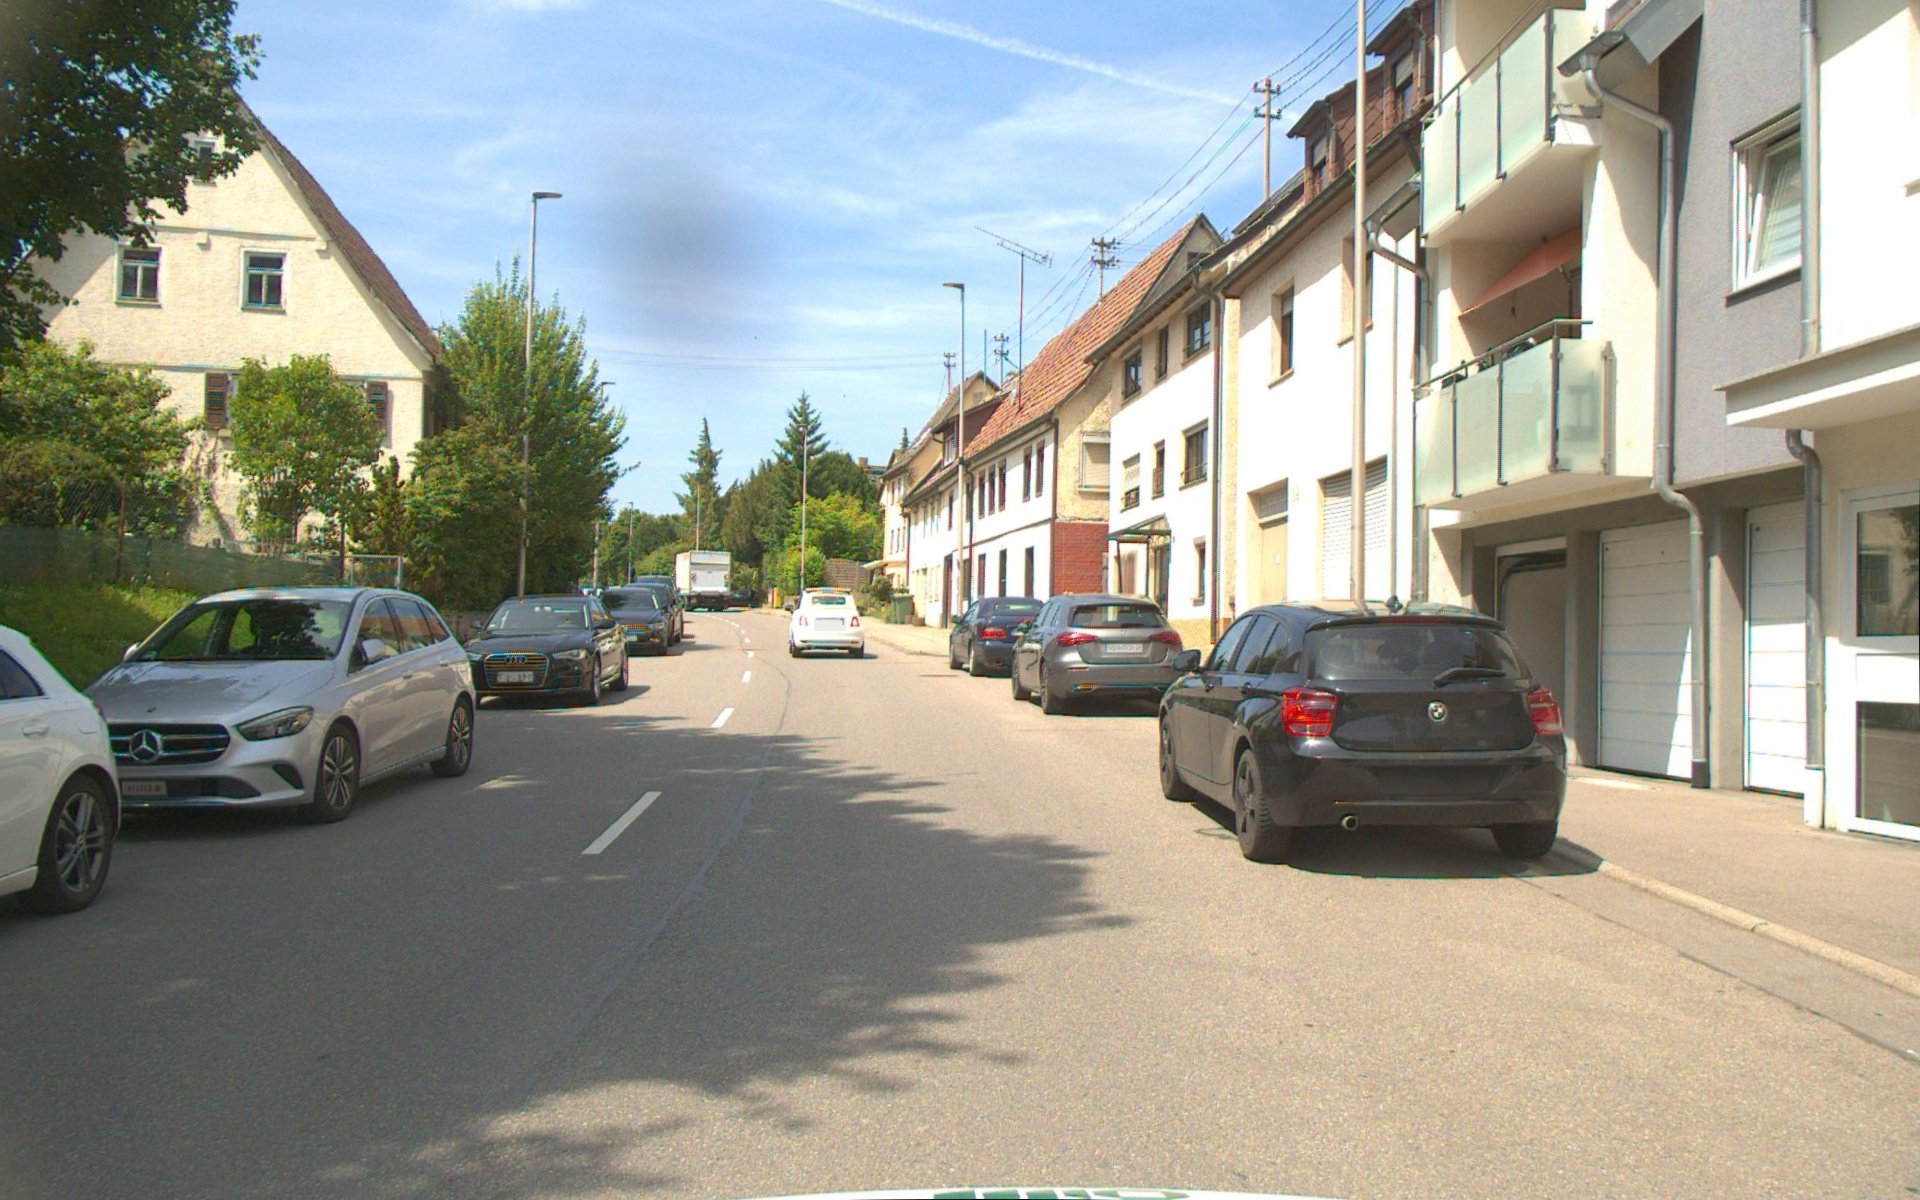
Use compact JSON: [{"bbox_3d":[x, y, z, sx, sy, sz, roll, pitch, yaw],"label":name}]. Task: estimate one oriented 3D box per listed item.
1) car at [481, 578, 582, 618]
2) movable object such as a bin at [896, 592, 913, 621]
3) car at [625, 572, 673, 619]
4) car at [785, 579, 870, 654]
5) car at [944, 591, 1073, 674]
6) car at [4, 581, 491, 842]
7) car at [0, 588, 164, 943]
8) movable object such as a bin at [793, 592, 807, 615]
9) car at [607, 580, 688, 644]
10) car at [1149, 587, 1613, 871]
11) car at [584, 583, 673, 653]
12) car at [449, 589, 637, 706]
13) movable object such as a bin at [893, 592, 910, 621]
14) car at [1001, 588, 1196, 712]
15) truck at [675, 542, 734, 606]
[{"bbox_3d":[-19.132,-0.090,73.852,4.164,1.430,1.812,5,-1,-18],"label":"car"},{"bbox_3d":[-2.089,0.249,61.783,0.536,1.051,0.550,-2,1,-10],"label":"movable object such as a bin"},{"bbox_3d":[-13.588,-0.208,72.134,1.858,1.971,4.969,0,0,-13],"label":"car"},{"bbox_3d":[-3.071,0.366,37.728,1.692,1.587,3.993,1,0,-8],"label":"car"},{"bbox_3d":[0.817,0.539,30.151,1.635,1.376,4.179,1,0,-8],"label":"car"},{"bbox_3d":[-4.918,0.666,12.145,1.736,1.554,4.221,-1,0,0],"label":"car"},{"bbox_3d":[-4.891,0.711,6.267,1.719,1.492,4.361,-1,0,-2],"label":"car"},{"bbox_3d":[-7.651,0.183,78.977,0.484,1.051,0.549,-3,1,11],"label":"movable object such as a bin"},{"bbox_3d":[-8.182,0.278,43.588,1.721,1.547,4.295,1,1,-6],"label":"car"},{"bbox_3d":[2.411,0.667,10.638,1.761,1.449,4.288,0,0,-2],"label":"car"},{"bbox_3d":[-7.510,0.367,37.810,1.755,1.489,4.703,0,0,-9],"label":"car"},{"bbox_3d":[-5.825,0.589,23.685,1.769,1.448,4.924,0,1,-4],"label":"car"},{"bbox_3d":[-2.215,0.249,62.383,0.536,1.051,0.550,-2,1,-10],"label":"movable object such as a bin"},{"bbox_3d":[1.683,0.563,21.555,1.759,1.427,4.406,0,0,-6],"label":"car"},{"bbox_3d":[-16.216,-1.548,104.656,3.016,3.840,7.839,0,-1,-14],"label":"truck"}]
